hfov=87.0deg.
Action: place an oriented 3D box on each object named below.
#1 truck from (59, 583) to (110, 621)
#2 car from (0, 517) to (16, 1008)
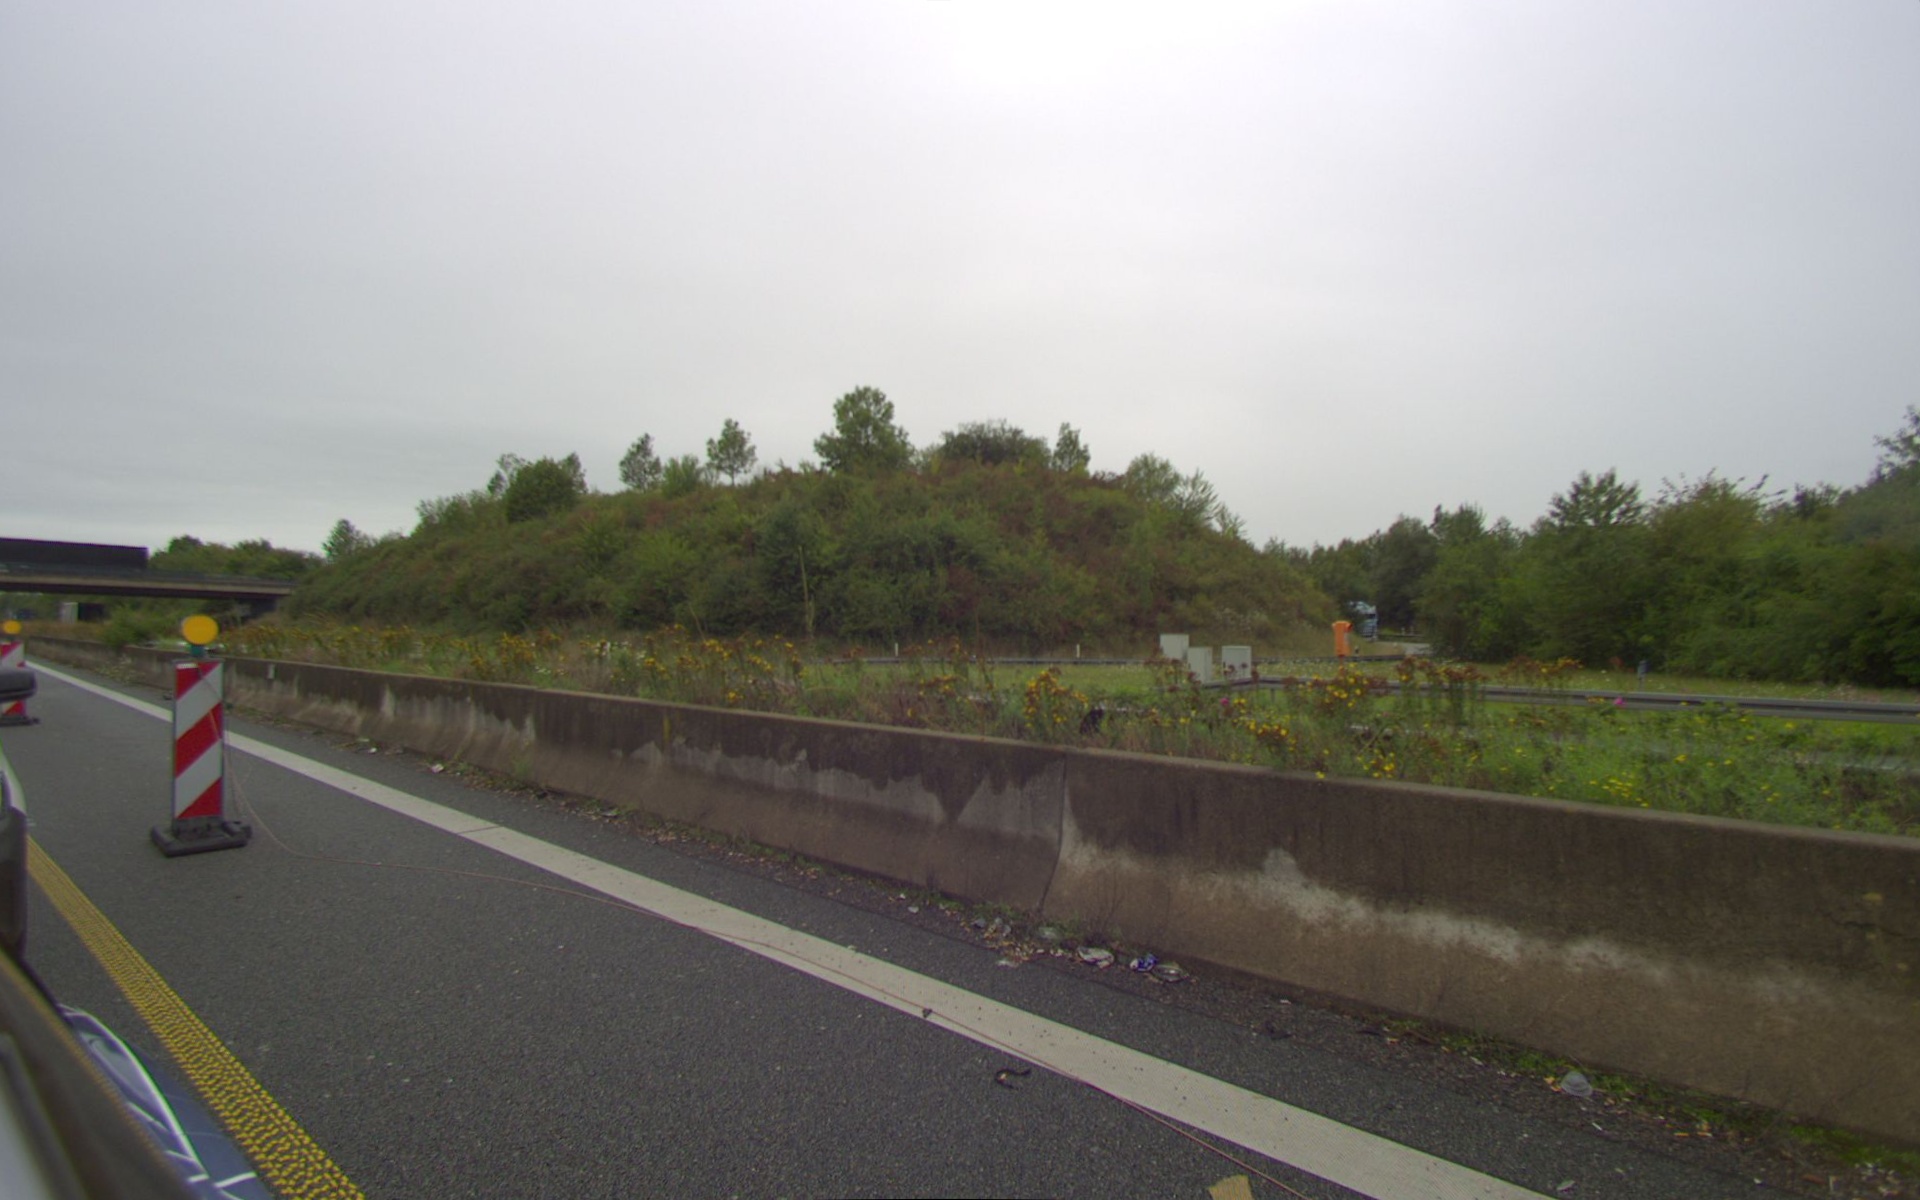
[{"bbox_3d":[-113.105,0.314,130.646,17.291,4.558,3.369,0,-1,44],"label":"truck"},{"bbox_3d":[-5.812,0.646,4.604,4.645,1.798,1.747,-1,-1,41],"label":"car"}]
